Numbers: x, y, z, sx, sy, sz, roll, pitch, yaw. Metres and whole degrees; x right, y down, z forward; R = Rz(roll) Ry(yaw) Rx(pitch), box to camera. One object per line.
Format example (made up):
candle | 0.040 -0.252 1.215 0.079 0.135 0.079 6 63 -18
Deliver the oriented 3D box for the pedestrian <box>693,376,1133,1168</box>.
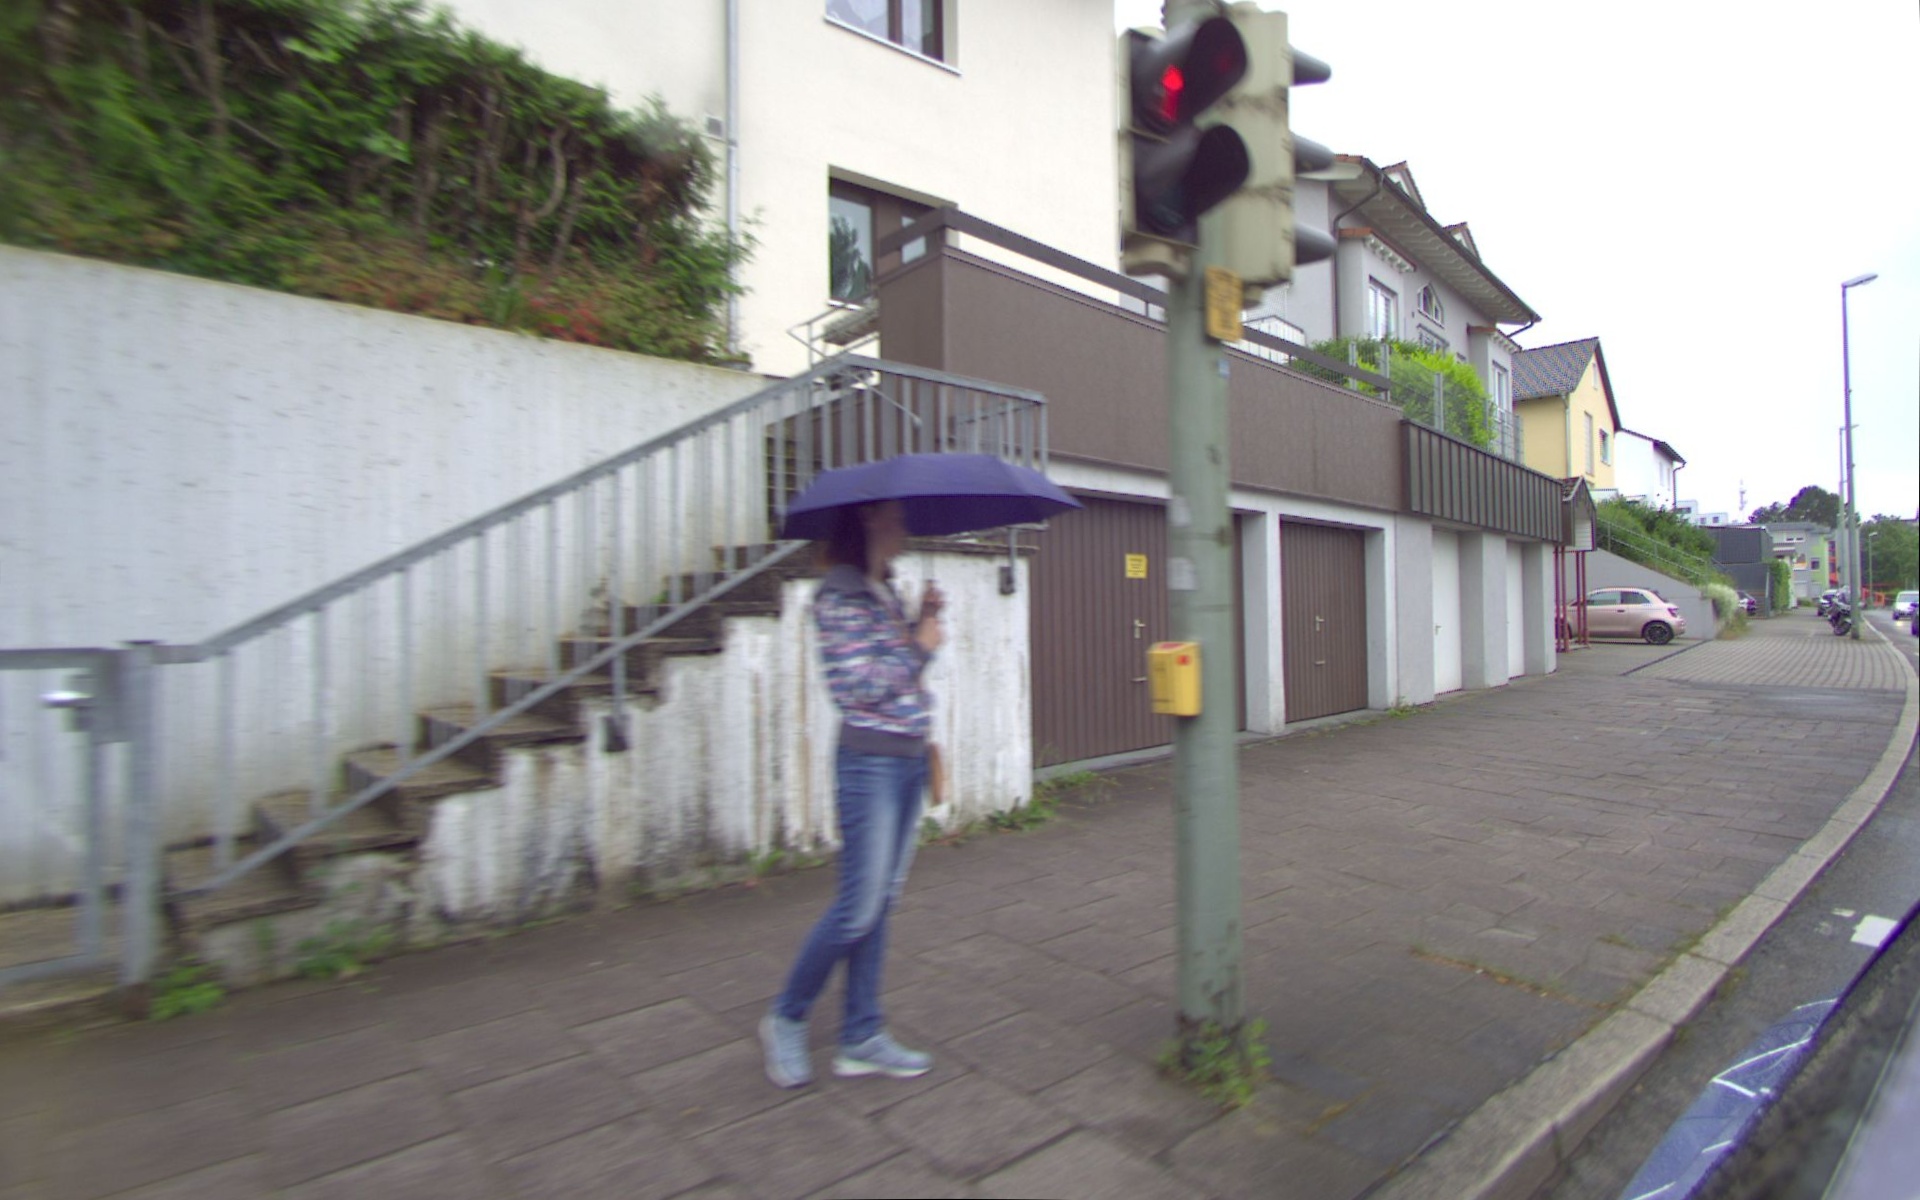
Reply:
pedestrian | -0.136 0.377 2.924 0.994 1.802 0.795 -1 2 -41

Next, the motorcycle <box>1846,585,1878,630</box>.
motorcycle | 28.213 0.197 31.668 0.691 1.341 2.442 1 1 41

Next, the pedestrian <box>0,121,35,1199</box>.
pedestrian | -1.945 0.257 1.558 0.721 2.039 0.798 -1 0 -41

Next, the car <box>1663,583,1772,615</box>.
car | 34.935 -0.068 46.766 3.976 1.420 1.652 1 1 37

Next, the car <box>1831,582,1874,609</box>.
car | 50.771 -0.275 57.572 1.732 1.508 3.938 1 1 43

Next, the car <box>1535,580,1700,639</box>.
car | 17.952 0.249 27.681 3.625 1.504 1.787 0 0 39

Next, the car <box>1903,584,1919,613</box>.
car | 52.077 -0.045 54.358 1.834 1.500 3.941 1 0 40

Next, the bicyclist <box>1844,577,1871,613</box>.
bicyclist | 42.443 -0.243 47.833 0.890 1.662 0.809 -2 2 -38

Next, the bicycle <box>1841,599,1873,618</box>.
bicycle | 42.434 0.409 47.869 2.193 0.837 0.733 -1 1 -38
